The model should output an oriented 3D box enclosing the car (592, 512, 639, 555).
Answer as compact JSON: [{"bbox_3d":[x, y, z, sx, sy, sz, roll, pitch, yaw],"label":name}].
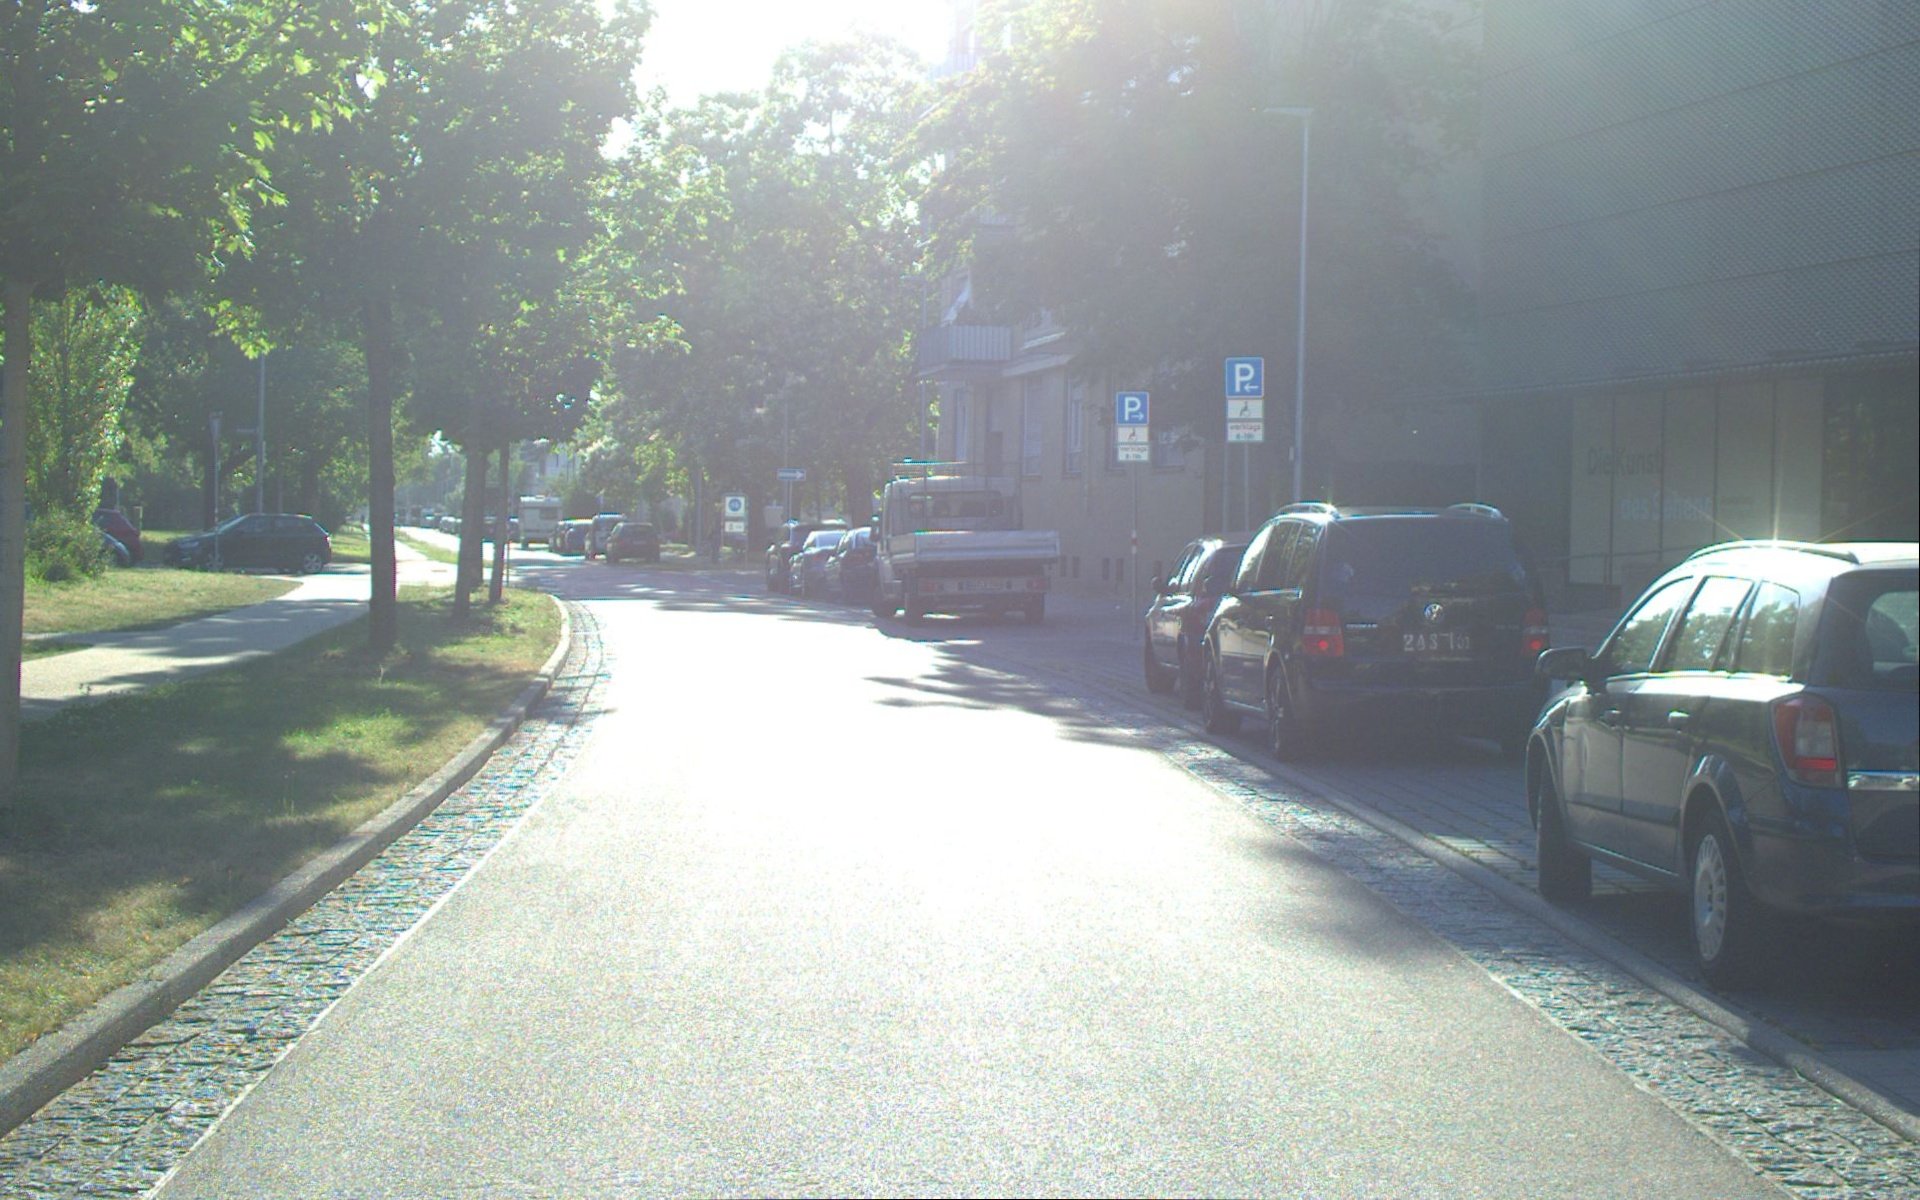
[{"bbox_3d":[-14.090,-2.729,140.362,1.793,1.718,4.001,1,1,-7],"label":"car"}]

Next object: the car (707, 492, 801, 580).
[{"bbox_3d":[-4.928,-1.542,81.770,1.822,2.007,3.606,1,1,-10],"label":"car"}]

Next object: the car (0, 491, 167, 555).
[{"bbox_3d":[-20.580,-1.786,79.667,3.912,1.415,1.772,0,2,-31],"label":"car"}]

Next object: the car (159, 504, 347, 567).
[{"bbox_3d":[-16.877,-1.530,82.107,3.987,1.415,1.772,0,2,-34],"label":"car"}]

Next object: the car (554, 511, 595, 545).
[{"bbox_3d":[-17.437,-3.269,155.510,1.793,1.504,4.001,1,1,-7],"label":"car"}]

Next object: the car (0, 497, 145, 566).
[{"bbox_3d":[-19.565,-1.464,73.083,3.987,1.415,1.772,0,2,-33],"label":"car"}]

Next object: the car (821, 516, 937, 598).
[{"bbox_3d":[-1.524,-0.812,63.190,1.690,1.435,3.552,0,2,-9],"label":"car"}]

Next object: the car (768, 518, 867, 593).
[{"bbox_3d":[-3.110,-0.991,74.348,1.690,1.560,4.105,0,2,-9],"label":"car"}]

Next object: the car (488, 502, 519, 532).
[{"bbox_3d":[-30.942,-5.659,233.082,1.993,1.963,4.001,2,1,-8],"label":"car"}]

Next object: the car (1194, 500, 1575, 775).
[{"bbox_3d":[2.758,0.171,23.203,1.724,1.663,4.115,-1,2,-5],"label":"car"}]

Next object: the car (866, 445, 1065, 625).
[{"bbox_3d":[-0.003,-1.017,52.078,2.211,2.521,6.149,-1,2,-7],"label":"car"}]

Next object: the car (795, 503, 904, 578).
[{"bbox_3d":[-2.220,-1.208,68.377,1.690,1.435,4.105,0,2,-9],"label":"car"}]

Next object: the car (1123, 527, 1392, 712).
[{"bbox_3d":[2.442,0.114,29.082,1.724,1.416,3.907,0,2,-3],"label":"car"}]

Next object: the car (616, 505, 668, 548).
[{"bbox_3d":[-11.691,-2.716,126.552,1.793,1.504,4.001,1,1,-4],"label":"car"}]

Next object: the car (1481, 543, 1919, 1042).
[{"bbox_3d":[3.259,0.552,12.763,1.747,1.461,4.478,-1,1,-3],"label":"car"}]

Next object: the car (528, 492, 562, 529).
[{"bbox_3d":[-23.191,-5.007,192.143,1.793,1.992,4.001,1,1,-7],"label":"car"}]
